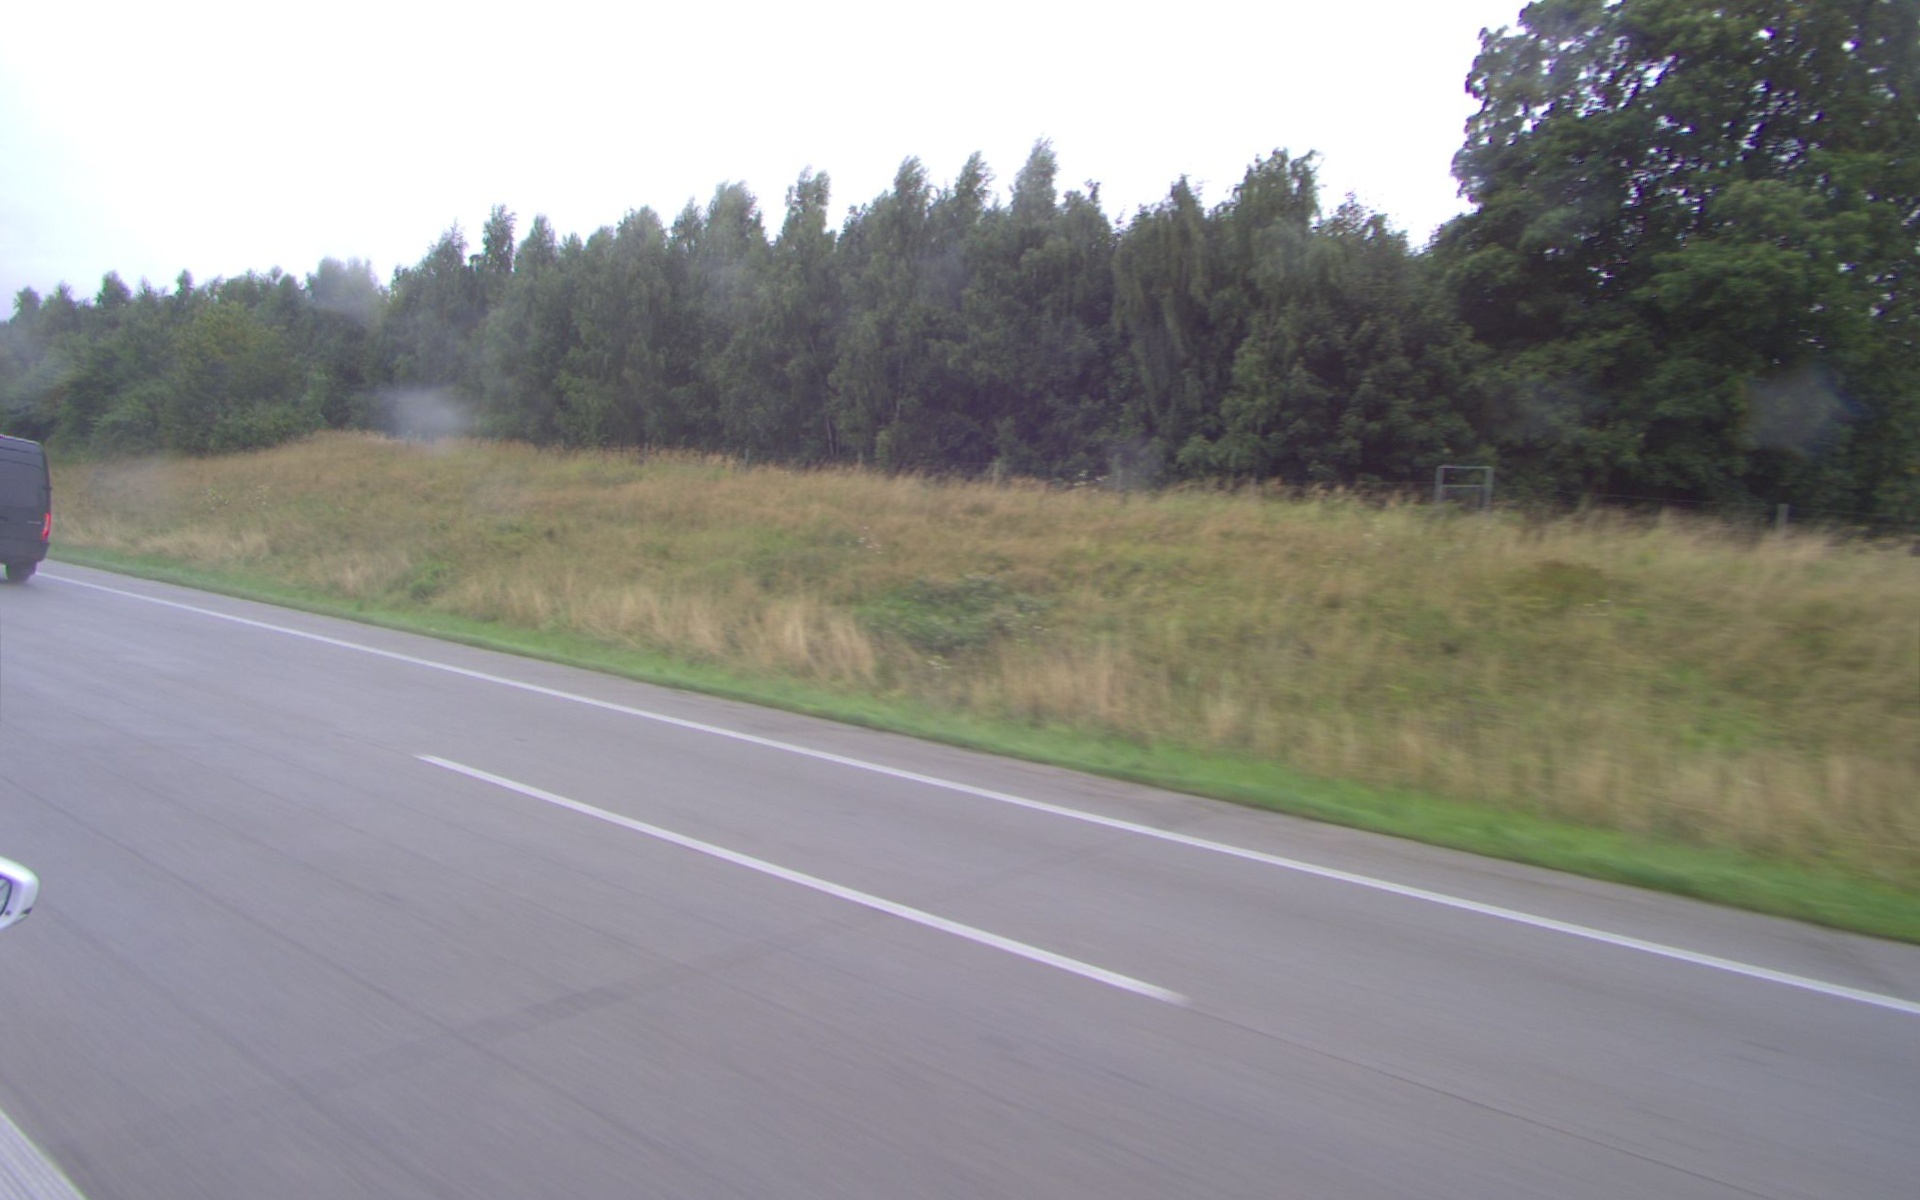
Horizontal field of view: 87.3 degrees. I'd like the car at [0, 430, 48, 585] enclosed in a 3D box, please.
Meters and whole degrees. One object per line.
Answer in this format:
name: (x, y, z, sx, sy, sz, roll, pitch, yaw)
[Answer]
car: (-20.060, -2.019, 19.278, 6.477, 2.690, 1.944, 7, -1, 32)
